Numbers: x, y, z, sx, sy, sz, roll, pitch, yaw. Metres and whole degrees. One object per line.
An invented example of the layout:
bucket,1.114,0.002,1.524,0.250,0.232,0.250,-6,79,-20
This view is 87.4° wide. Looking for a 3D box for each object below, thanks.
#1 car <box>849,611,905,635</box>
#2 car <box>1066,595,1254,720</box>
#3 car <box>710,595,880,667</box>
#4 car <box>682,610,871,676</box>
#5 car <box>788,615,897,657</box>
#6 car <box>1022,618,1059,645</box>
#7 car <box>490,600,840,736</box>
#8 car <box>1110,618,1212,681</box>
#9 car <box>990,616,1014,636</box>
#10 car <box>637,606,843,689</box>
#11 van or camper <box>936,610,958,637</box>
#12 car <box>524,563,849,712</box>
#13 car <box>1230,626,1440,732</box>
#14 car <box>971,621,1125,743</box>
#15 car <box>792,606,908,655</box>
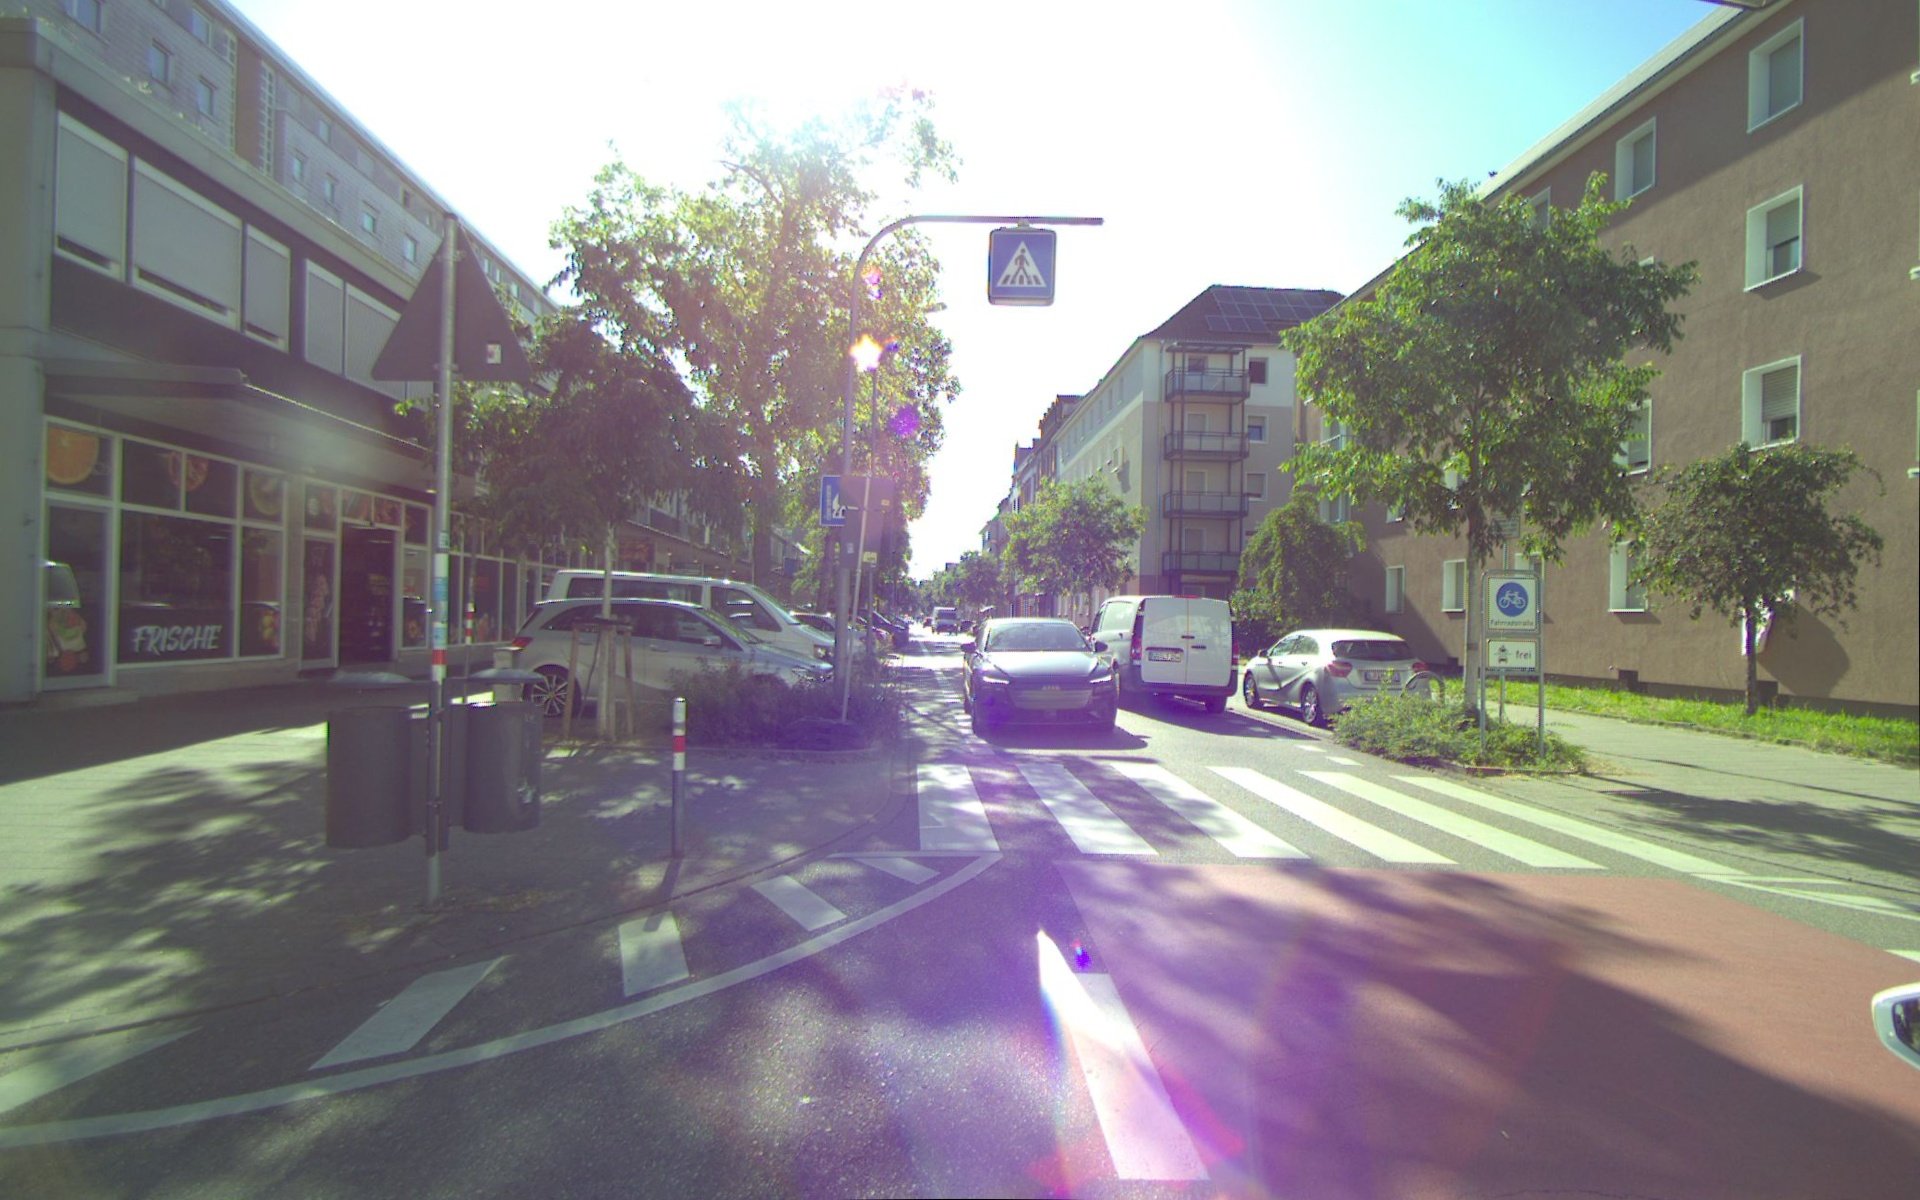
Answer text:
car,-7.721,2.136,93.724,5.129,2.007,1.661,2,-1,-4
car,3.456,0.947,18.585,2.067,1.933,5.422,1,-1,-3
car,-4.596,0.878,28.554,4.553,1.828,1.836,2,-1,-4
car,-4.630,1.095,25.898,4.582,1.513,1.827,2,-1,-5
car,-5.015,1.544,43.364,4.553,1.631,1.661,2,-1,-4
car,4.788,1.861,60.036,1.712,1.539,3.857,1,-1,-2
car,-3.817,0.889,13.611,4.221,1.634,1.757,1,-1,-4
car,5.297,1.285,27.007,1.754,1.539,4.308,1,-1,-2
car,3.486,2.152,83.487,1.712,1.539,3.857,1,-1,-2
car,-4.539,0.981,21.207,3.966,1.513,1.716,3,-1,-4
van or camper,-1.308,2.242,96.955,1.961,2.508,5.818,1,-1,-3
car,-4.213,0.597,16.181,4.655,2.033,1.958,3,-1,-5
car,5.982,1.196,16.584,1.712,1.473,4.154,1,-1,-3
car,1.168,1.051,14.623,1.877,1.473,4.579,1,-1,2
car,-4.970,1.390,45.921,5.129,2.007,1.661,2,-1,-4
